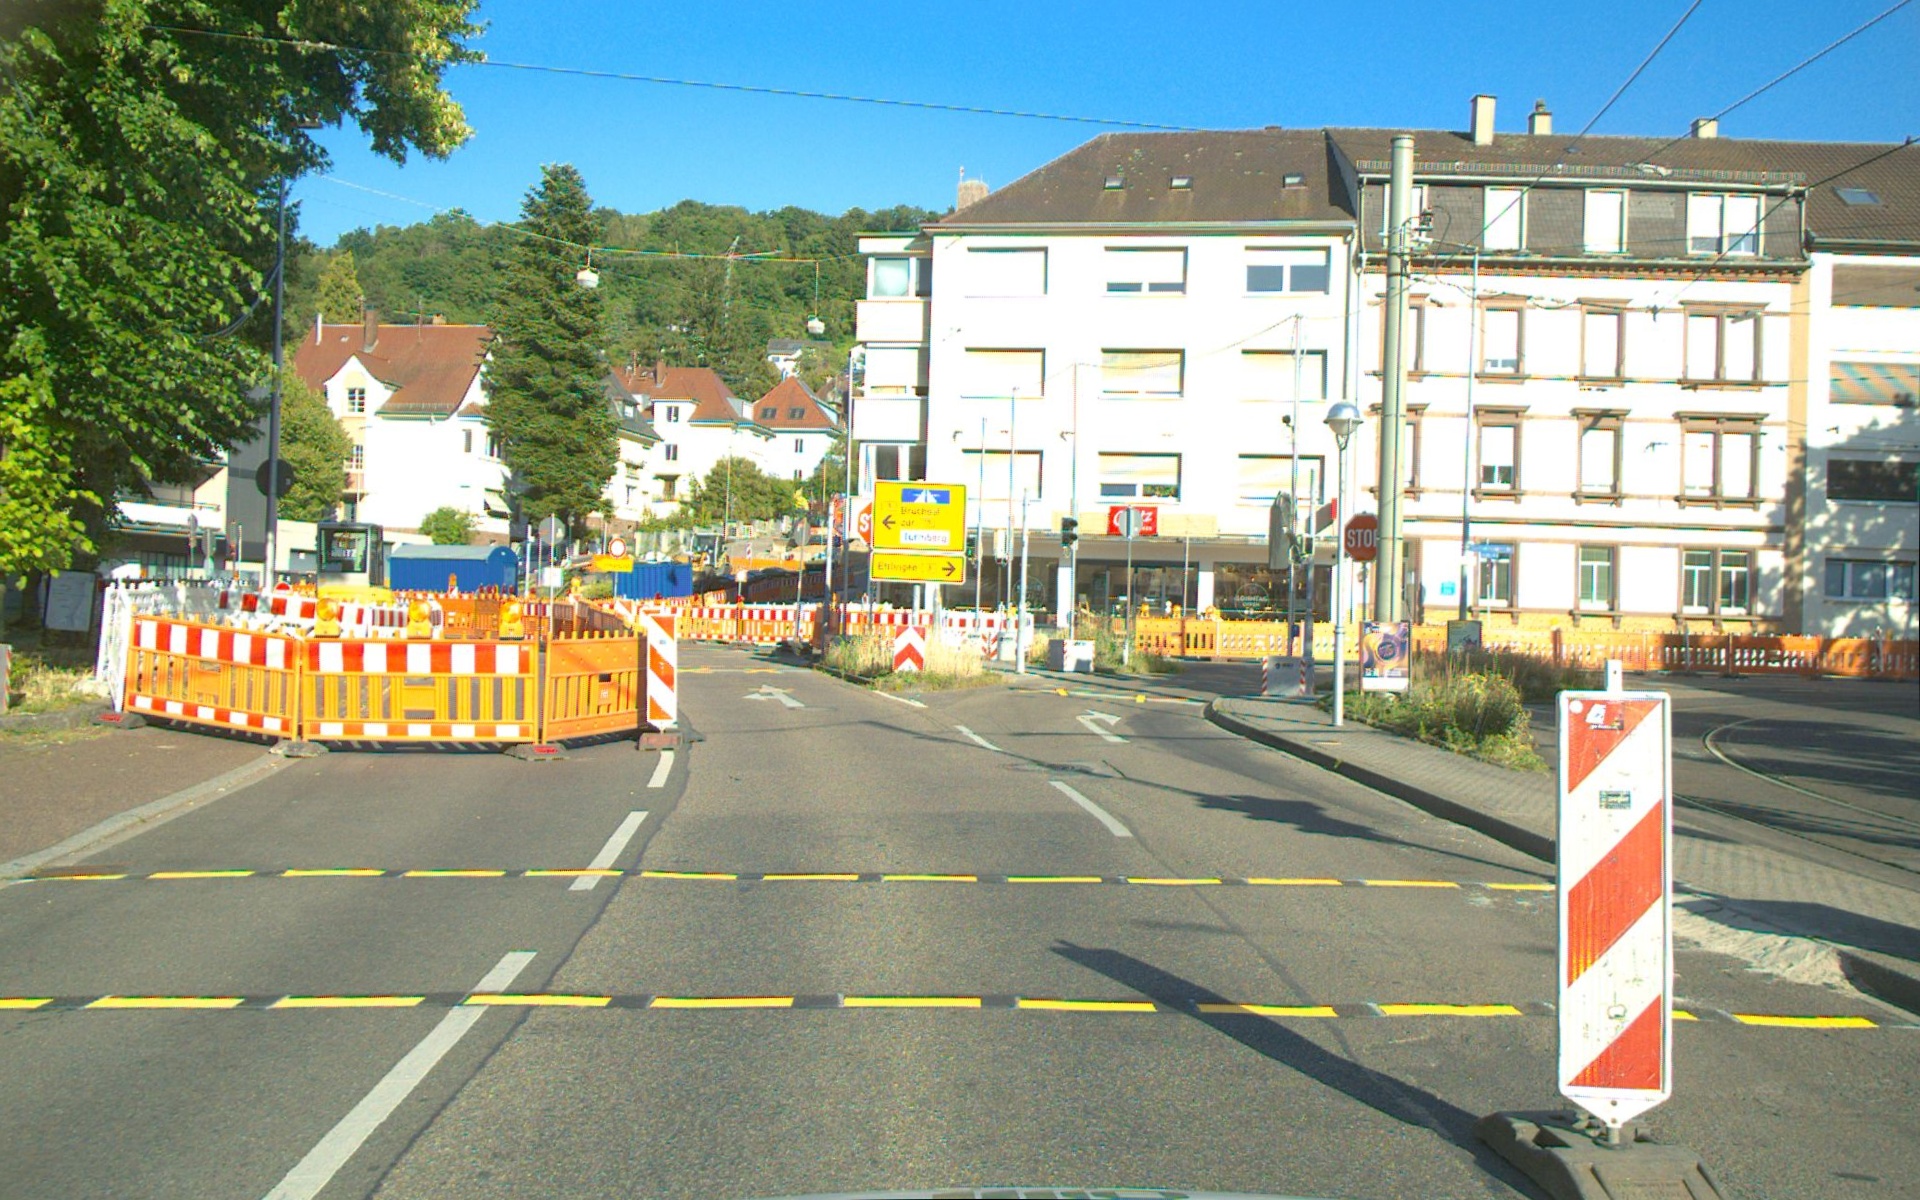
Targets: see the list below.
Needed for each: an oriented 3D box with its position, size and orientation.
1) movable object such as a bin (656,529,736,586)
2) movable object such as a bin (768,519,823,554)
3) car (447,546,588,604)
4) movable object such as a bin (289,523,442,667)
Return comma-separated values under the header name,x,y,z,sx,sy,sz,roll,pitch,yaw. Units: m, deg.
name,x,y,z,sx,sy,sz,roll,pitch,yaw
movable object such as a bin,-12.527,-2.006,78.793,1.907,2.538,4.554,1,0,17
movable object such as a bin,-11.367,-4.396,114.743,2.510,2.159,5.789,1,0,8
car,-17.504,-0.942,65.888,2.529,2.158,6.154,1,0,17
movable object such as a bin,-10.453,-0.092,29.343,1.615,2.365,3.916,1,0,-6
